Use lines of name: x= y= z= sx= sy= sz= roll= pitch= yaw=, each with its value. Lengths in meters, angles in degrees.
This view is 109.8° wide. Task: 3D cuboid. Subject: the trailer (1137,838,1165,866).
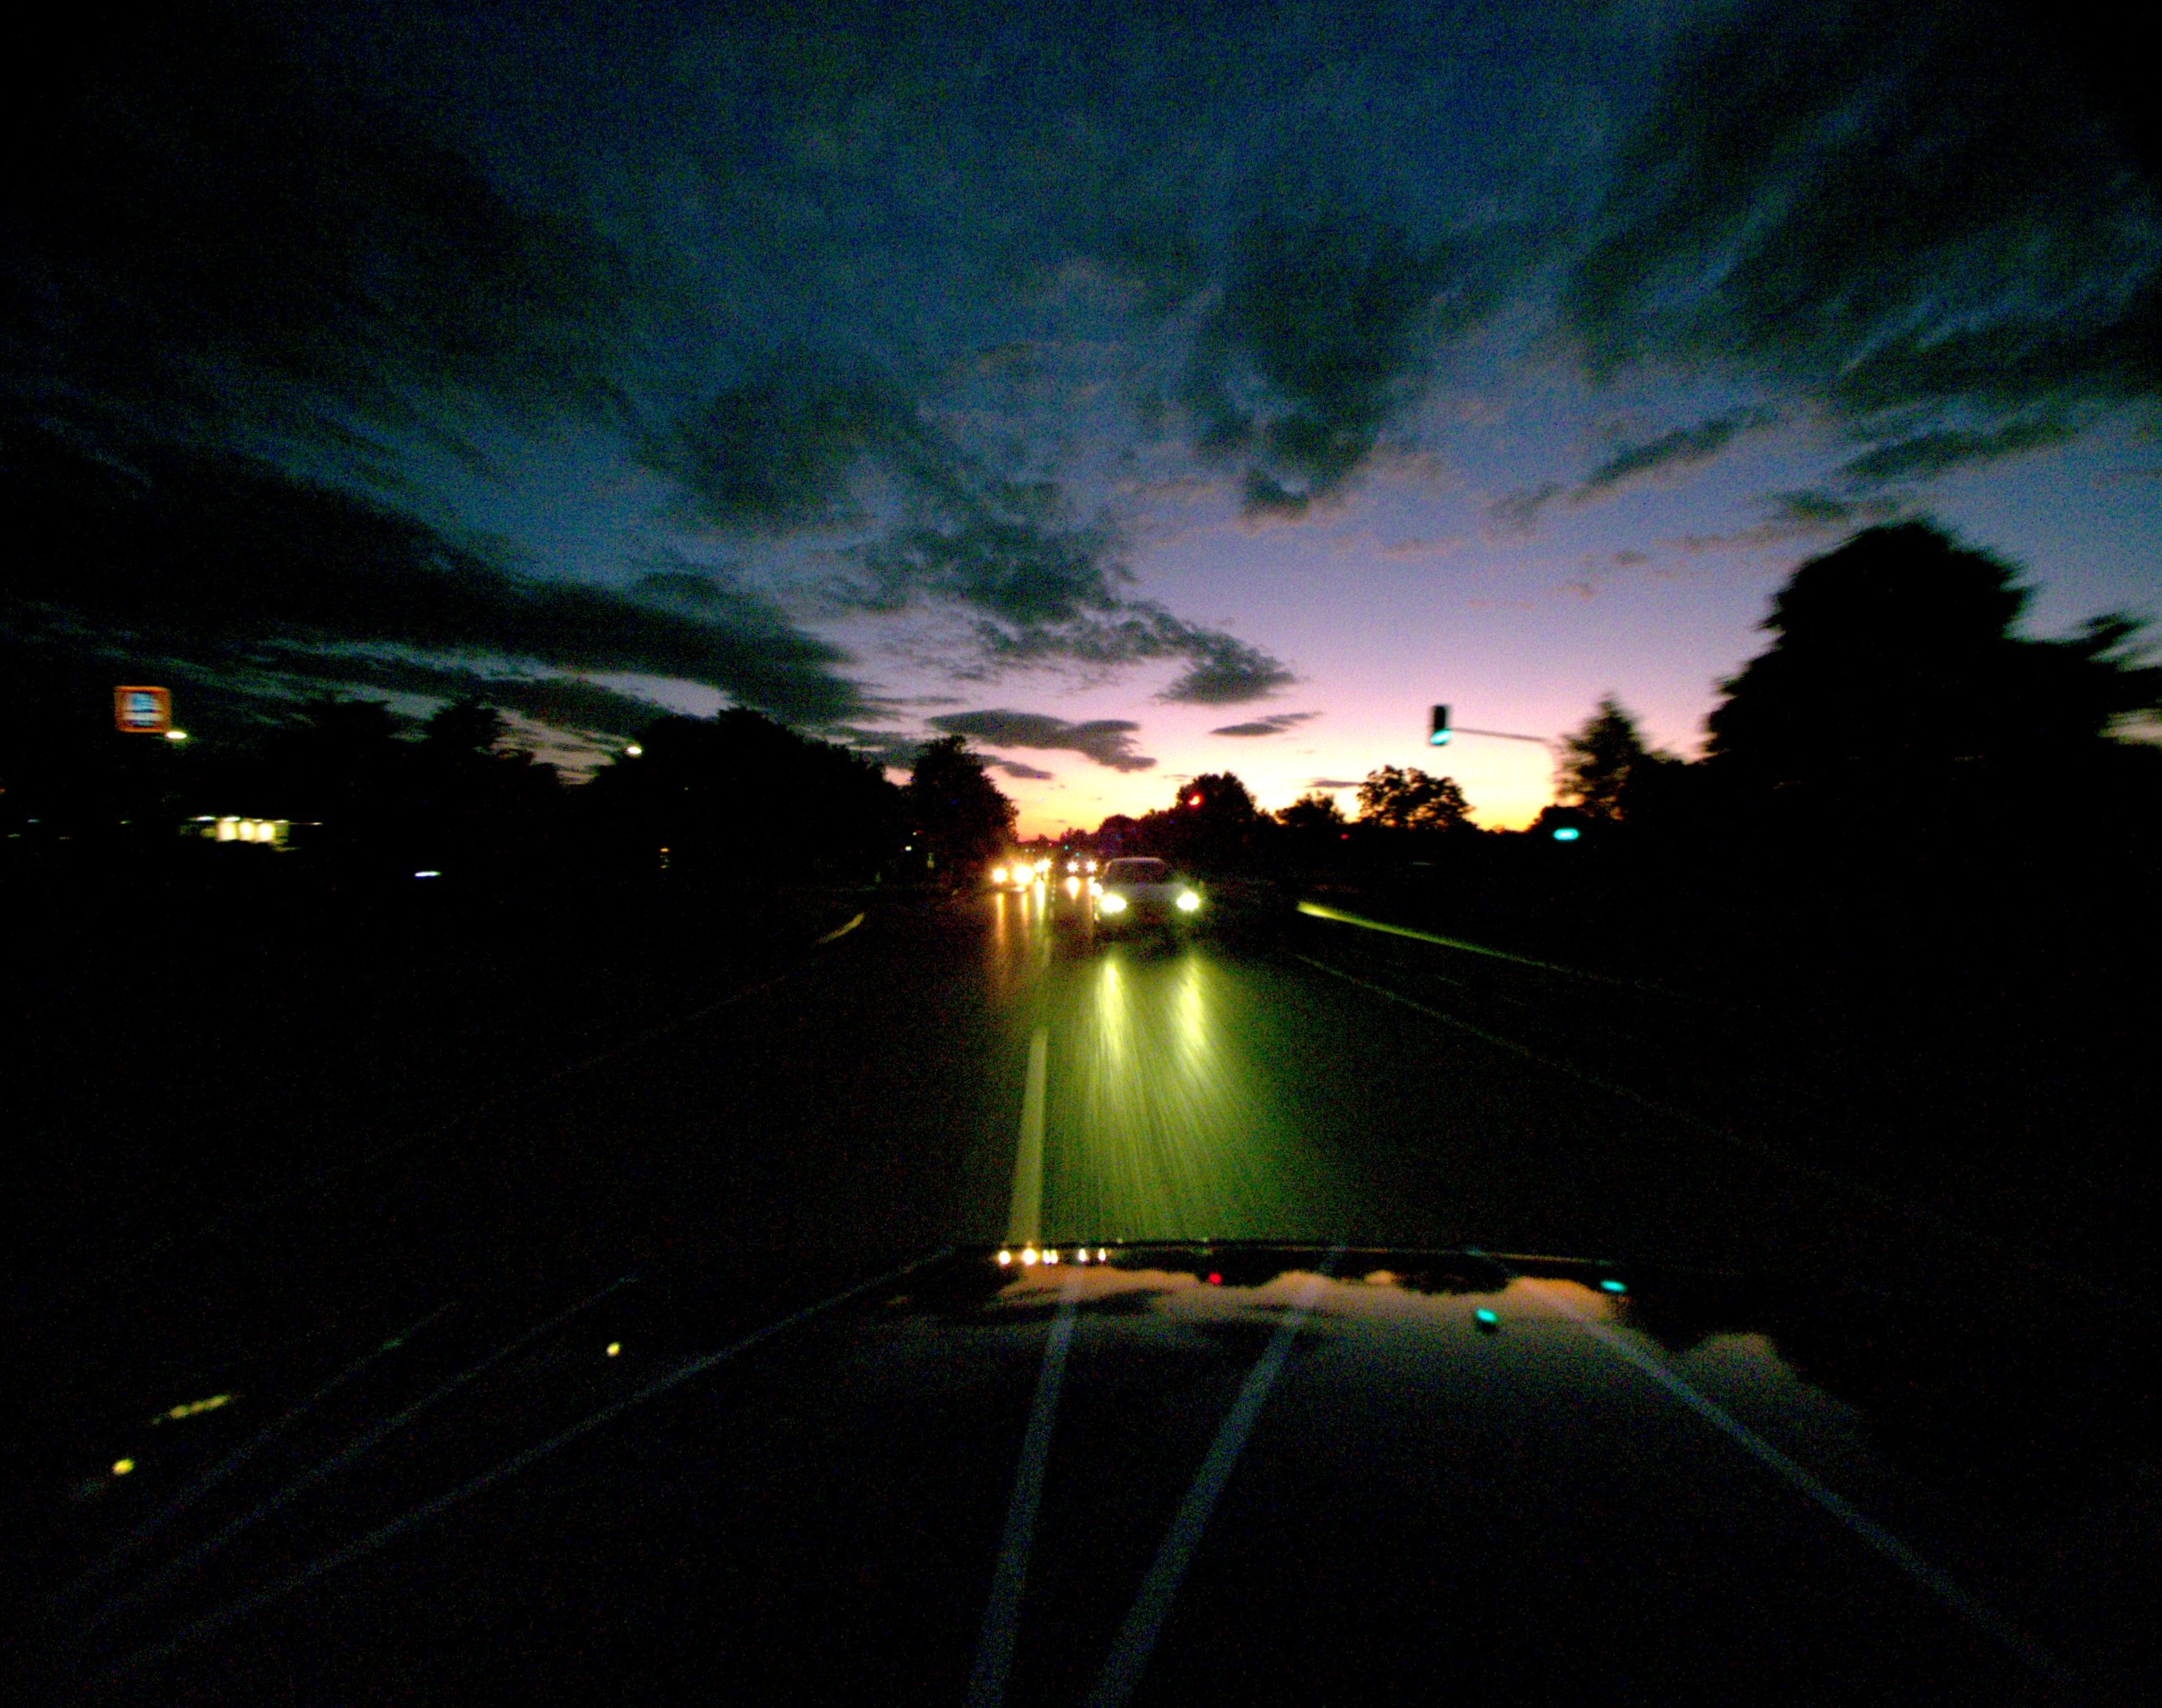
trailer: x=10.062 y=-0.316 z=109.984 sx=2.584 sy=3.920 sz=8.872 roll=2 pitch=1 yaw=-4

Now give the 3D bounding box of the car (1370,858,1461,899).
car: x=13.030 y=0.906 z=29.884 sx=1.656 sy=1.376 sz=4.028 roll=-2 pitch=1 yaw=-2

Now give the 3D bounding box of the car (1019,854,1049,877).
car: x=-3.311 y=0.804 z=54.030 sx=1.902 sy=1.547 sz=4.300 roll=-3 pitch=0 yaw=-1

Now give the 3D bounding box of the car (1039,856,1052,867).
car: x=-4.786 y=0.998 z=102.158 sx=1.607 sy=1.291 sz=3.551 roll=1 pitch=0 yaw=-4

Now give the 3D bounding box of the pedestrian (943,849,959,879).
pedestrian: x=-8.755 y=0.649 z=51.171 sx=0.782 sy=2.002 sz=0.712 roll=-3 pitch=1 yaw=-40

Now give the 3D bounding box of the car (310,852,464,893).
car: x=-29.459 y=0.793 z=32.457 sx=4.485 sy=1.654 sz=1.995 roll=1 pitch=0 yaw=-29

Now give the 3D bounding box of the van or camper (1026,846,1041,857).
van or camper: x=-13.196 y=-0.727 z=211.761 sx=3.950 sy=3.107 sz=9.940 roll=0 pitch=0 yaw=-2

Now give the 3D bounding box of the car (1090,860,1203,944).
car: x=1.196 y=0.880 z=15.805 sx=1.819 sy=1.428 sz=4.646 roll=-2 pitch=-1 yaw=-1

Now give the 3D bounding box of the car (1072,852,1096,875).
car: x=0.180 y=0.764 z=59.216 sx=1.760 sy=1.692 sz=4.249 roll=-1 pitch=0 yaw=-1

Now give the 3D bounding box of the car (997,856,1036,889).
car: x=-3.127 y=0.888 z=37.419 sx=1.663 sy=1.528 sz=3.714 roll=-1 pitch=0 yaw=-1

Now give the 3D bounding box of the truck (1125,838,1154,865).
truck: x=9.101 y=-0.383 z=119.496 sx=2.734 sy=4.093 sz=10.340 roll=-1 pitch=1 yaw=-5
